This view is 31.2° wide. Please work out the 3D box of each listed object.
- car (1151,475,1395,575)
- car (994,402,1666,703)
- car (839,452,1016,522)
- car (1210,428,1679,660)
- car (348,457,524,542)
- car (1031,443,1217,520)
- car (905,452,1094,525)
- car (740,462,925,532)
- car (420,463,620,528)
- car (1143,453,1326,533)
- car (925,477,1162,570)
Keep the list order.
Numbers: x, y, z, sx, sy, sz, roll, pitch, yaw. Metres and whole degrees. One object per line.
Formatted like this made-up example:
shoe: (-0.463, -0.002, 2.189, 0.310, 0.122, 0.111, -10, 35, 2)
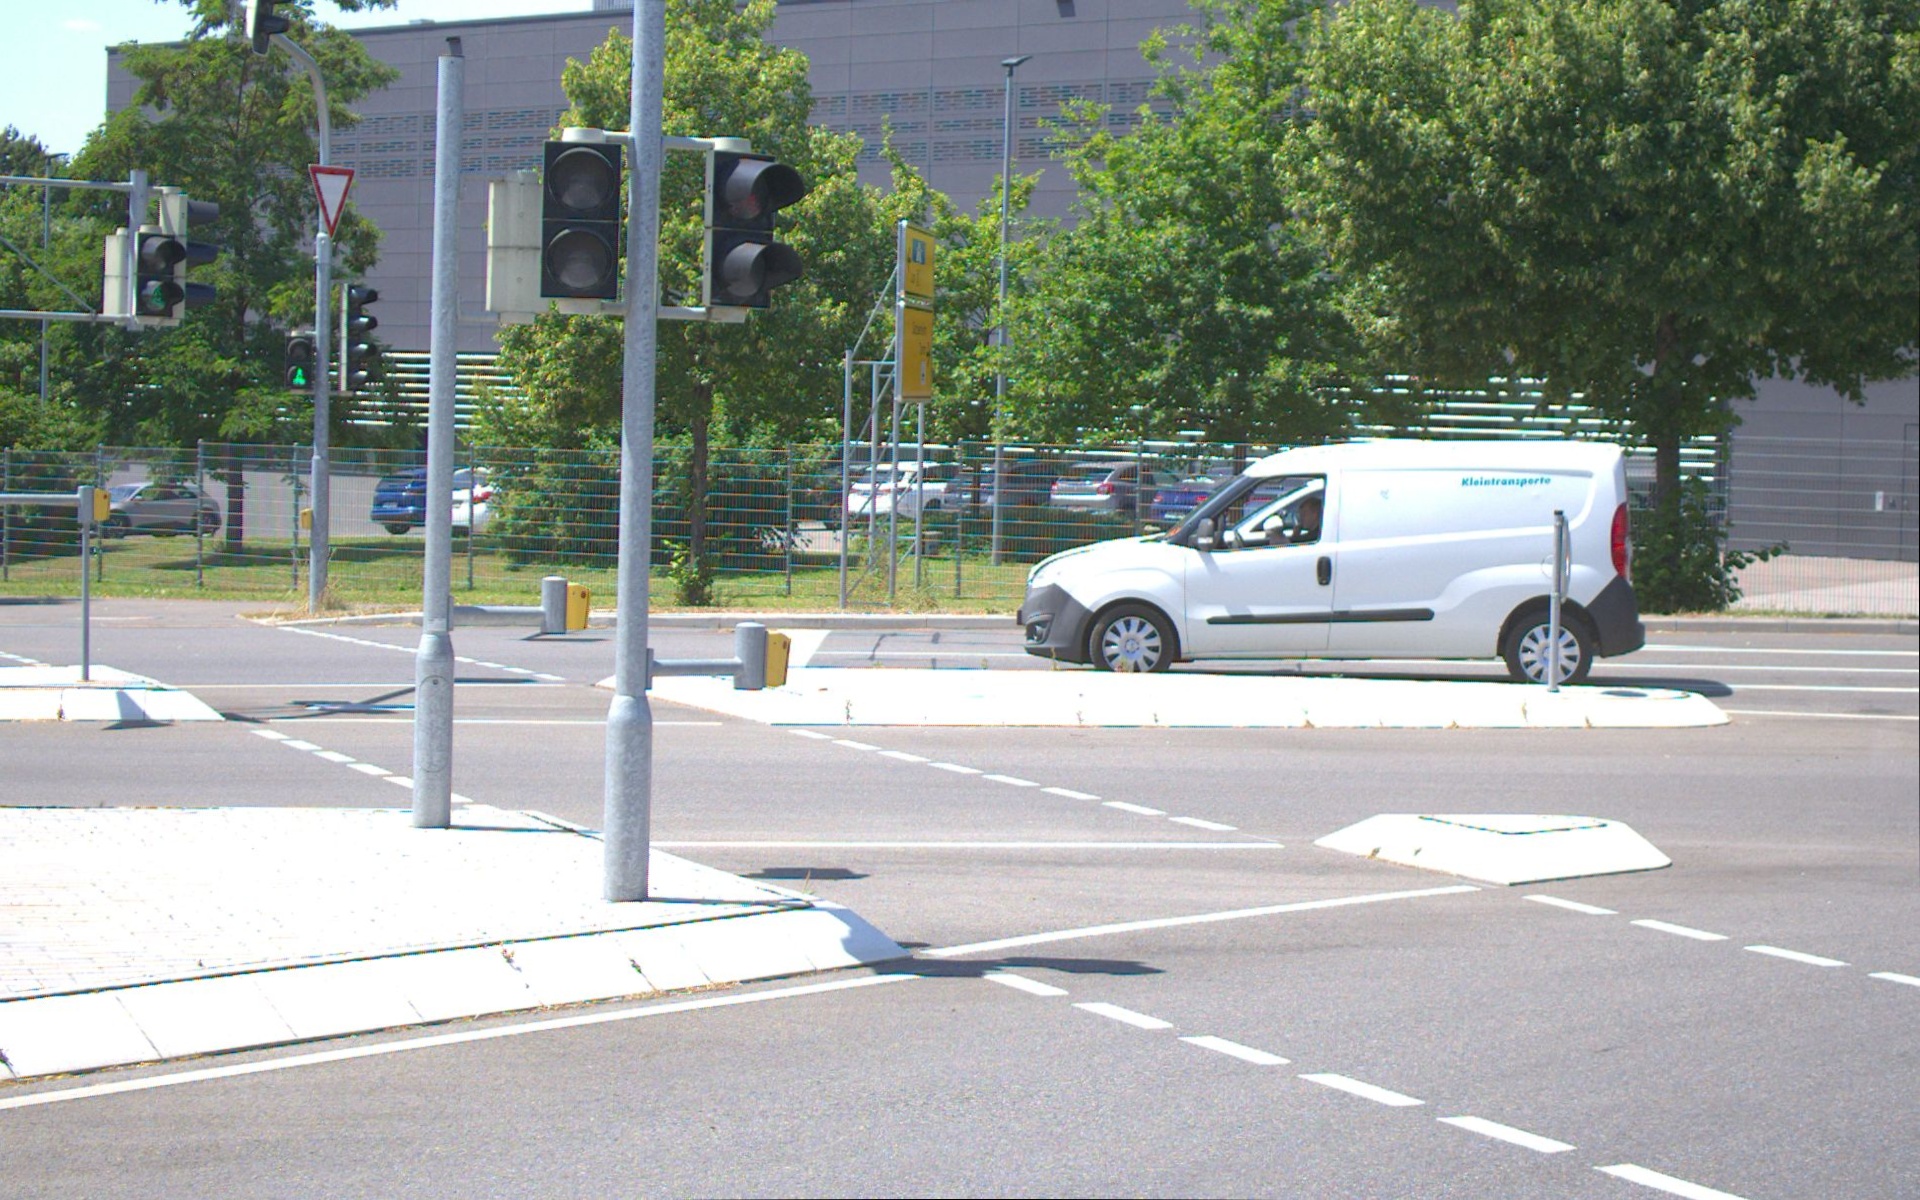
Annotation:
car: (4.887, -1.153, 53.257, 1.998, 1.481, 3.992, 1, 1, 36)
car: (2.813, -0.415, 26.299, 4.856, 1.935, 2.000, 2, 7, 7)
car: (-0.672, -2.402, 73.745, 1.769, 1.455, 3.992, 0, 1, 36)
car: (4.180, -0.525, 29.922, 3.853, 1.700, 2.000, 2, 7, 7)
car: (-12.739, -2.438, 83.789, 1.998, 2.007, 3.992, 0, 1, 36)
car: (3.397, -2.404, 70.499, 1.918, 1.512, 3.992, 0, 1, 36)
car: (0.854, -2.307, 71.919, 1.998, 1.481, 3.992, 1, 1, 36)
car: (-2.755, -2.234, 75.087, 1.998, 1.481, 3.992, 1, 1, 36)
car: (-8.131, -1.917, 63.730, 1.614, 1.161, 3.627, 1, 1, 36)
car: (5.508, -2.117, 68.673, 1.818, 1.523, 3.992, 0, 1, 36)
car: (1.416, -1.260, 57.002, 1.998, 1.481, 3.992, 1, 1, 36)
